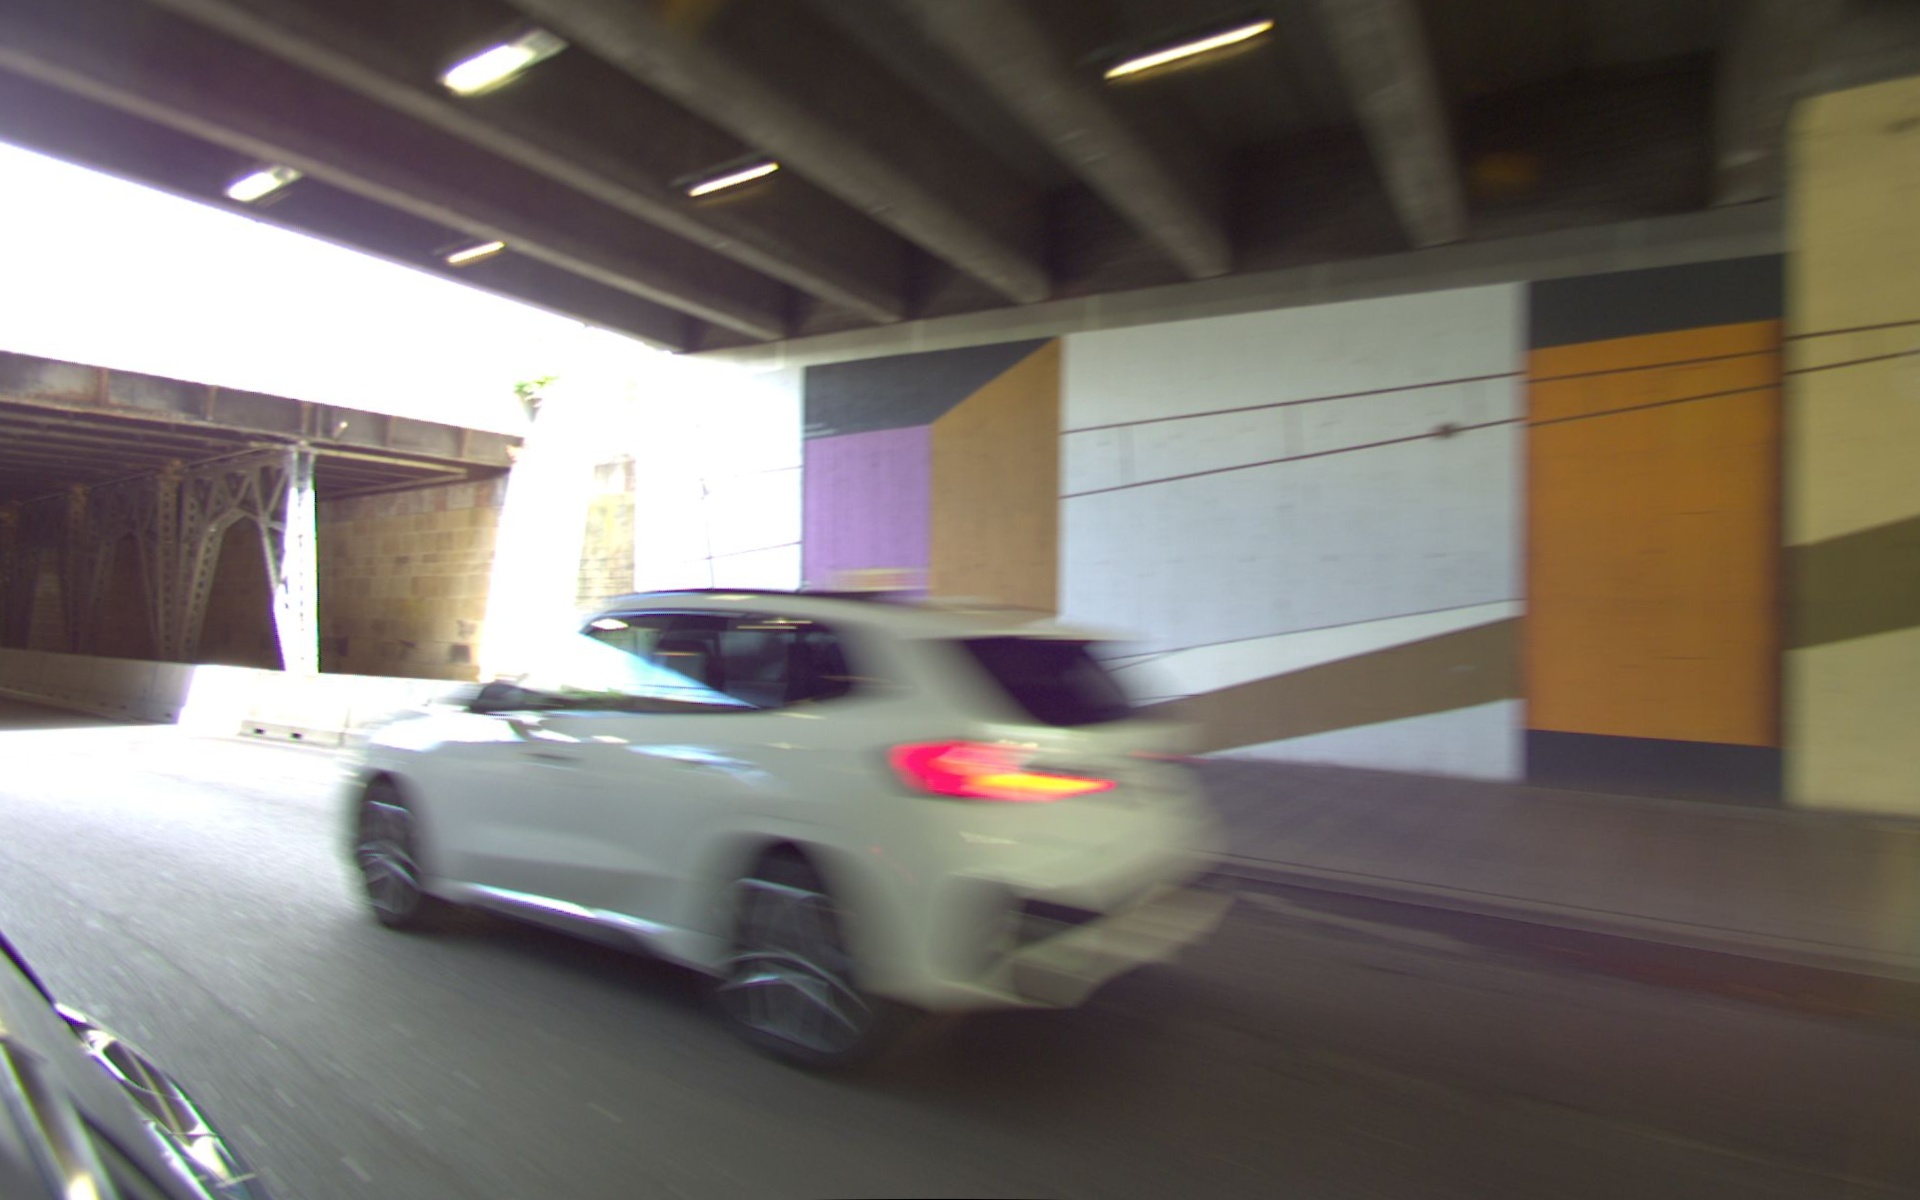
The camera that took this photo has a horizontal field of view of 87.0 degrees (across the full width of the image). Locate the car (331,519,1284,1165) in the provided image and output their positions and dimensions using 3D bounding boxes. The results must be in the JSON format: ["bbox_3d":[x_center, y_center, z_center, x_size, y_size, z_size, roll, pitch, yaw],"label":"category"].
[{"bbox_3d":[-0.903,0.679,4.605,4.204,1.666,1.809,-1,-3,35],"label":"car"}]
